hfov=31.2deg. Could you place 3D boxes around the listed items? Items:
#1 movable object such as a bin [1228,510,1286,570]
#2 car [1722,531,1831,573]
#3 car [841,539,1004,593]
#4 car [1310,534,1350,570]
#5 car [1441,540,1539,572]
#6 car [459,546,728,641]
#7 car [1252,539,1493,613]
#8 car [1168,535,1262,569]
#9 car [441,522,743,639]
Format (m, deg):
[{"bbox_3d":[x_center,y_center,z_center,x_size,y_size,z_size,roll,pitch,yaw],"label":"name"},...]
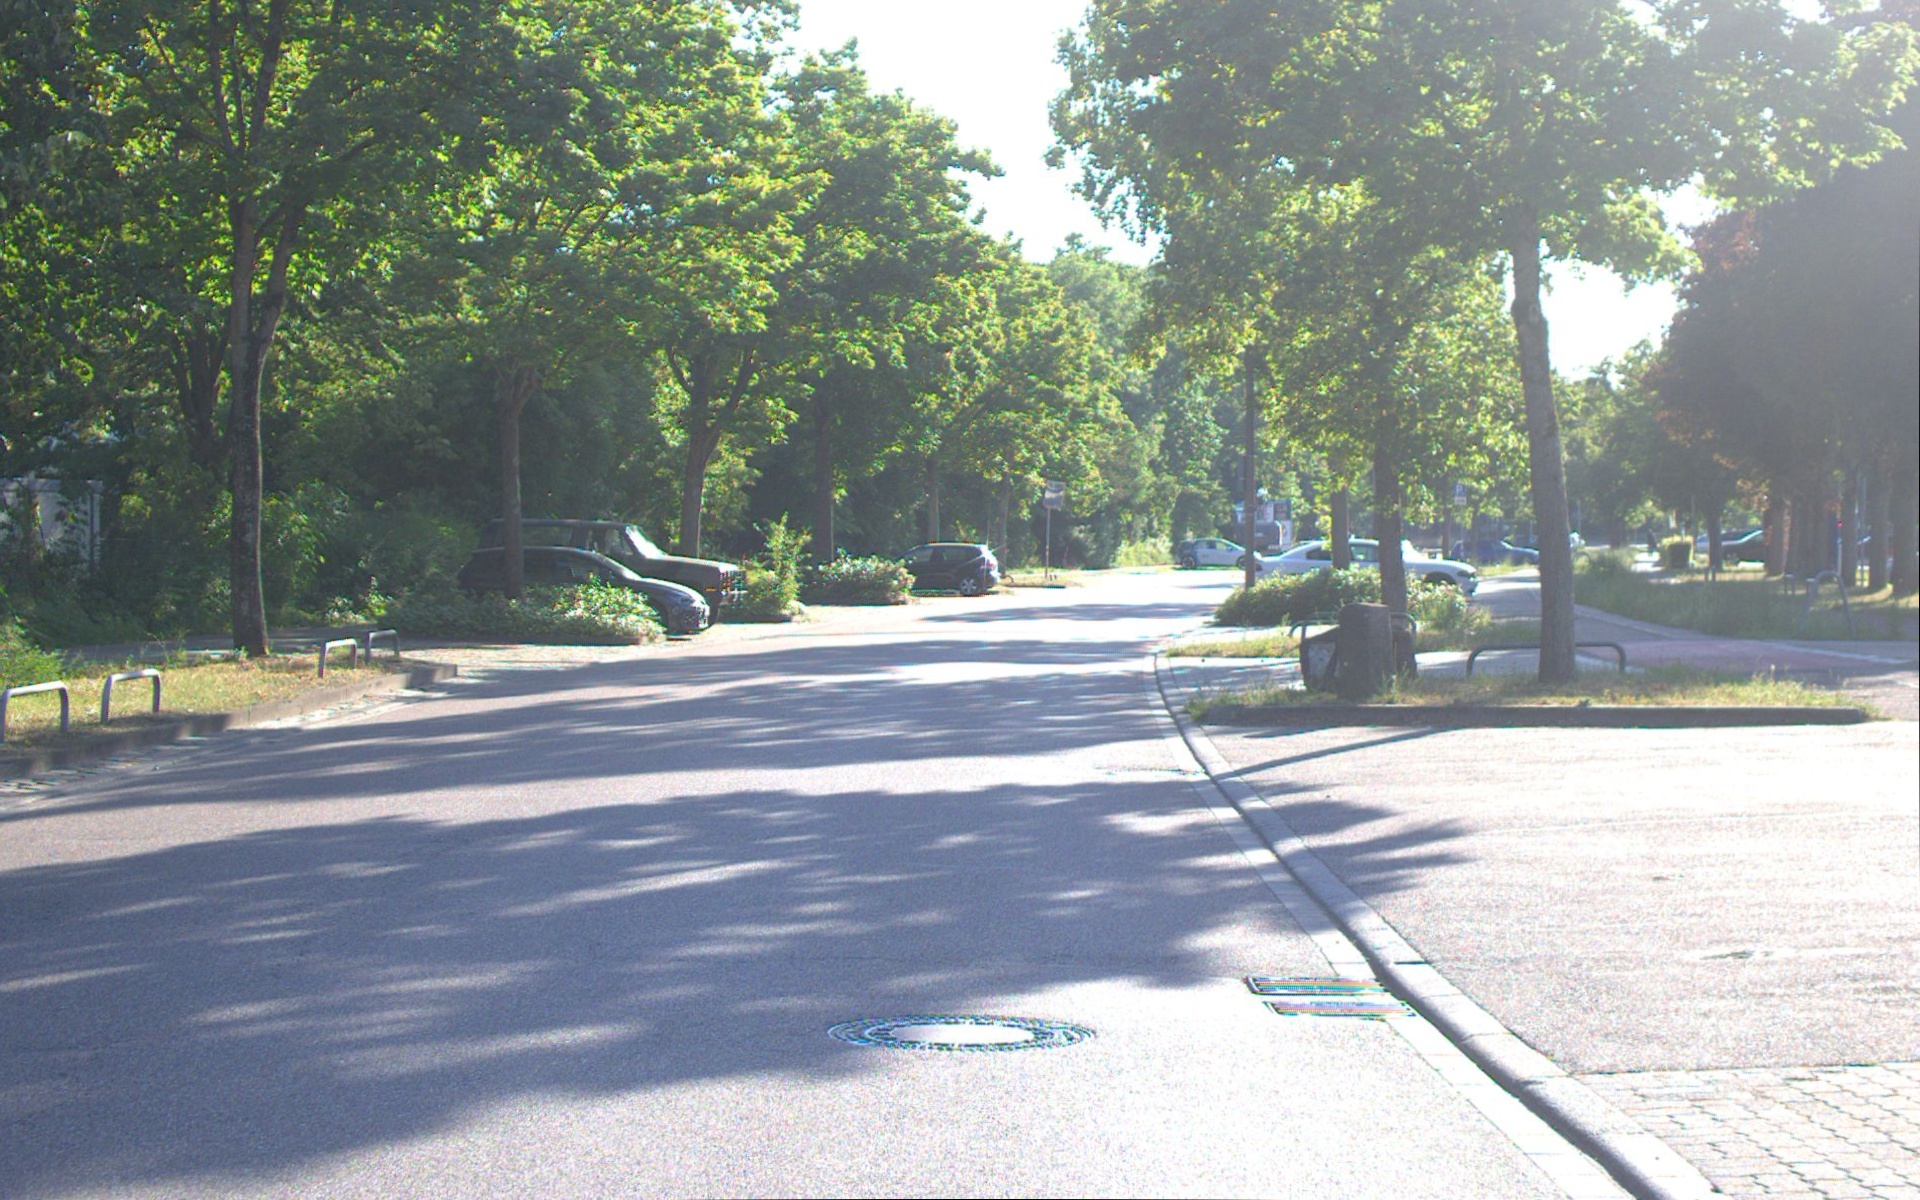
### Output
[{"bbox_3d":[15.781,-3.161,182.323,2.839,3.058,4.926,2,1,7],"label":"movable object such as a bin"},{"bbox_3d":[35.488,-2.095,149.529,4.431,1.700,2.058,2,1,10],"label":"car"},{"bbox_3d":[-1.053,-0.962,97.791,4.360,1.474,1.999,0,1,8],"label":"car"},{"bbox_3d":[24.868,-3.204,231.038,2.517,2.378,4.372,0,1,4],"label":"car"},{"bbox_3d":[27.244,-2.280,176.762,4.844,1.474,1.999,2,1,12],"label":"car"},{"bbox_3d":[-6.068,-0.116,57.205,4.212,1.525,1.705,0,1,4],"label":"car"},{"bbox_3d":[9.048,-0.536,75.661,5.176,1.568,2.157,0,1,6],"label":"car"},{"bbox_3d":[12.617,-2.358,170.027,4.361,1.542,1.999,2,1,12],"label":"car"},{"bbox_3d":[-6.476,-0.355,60.881,5.005,2.013,2.174,0,1,4],"label":"car"}]
